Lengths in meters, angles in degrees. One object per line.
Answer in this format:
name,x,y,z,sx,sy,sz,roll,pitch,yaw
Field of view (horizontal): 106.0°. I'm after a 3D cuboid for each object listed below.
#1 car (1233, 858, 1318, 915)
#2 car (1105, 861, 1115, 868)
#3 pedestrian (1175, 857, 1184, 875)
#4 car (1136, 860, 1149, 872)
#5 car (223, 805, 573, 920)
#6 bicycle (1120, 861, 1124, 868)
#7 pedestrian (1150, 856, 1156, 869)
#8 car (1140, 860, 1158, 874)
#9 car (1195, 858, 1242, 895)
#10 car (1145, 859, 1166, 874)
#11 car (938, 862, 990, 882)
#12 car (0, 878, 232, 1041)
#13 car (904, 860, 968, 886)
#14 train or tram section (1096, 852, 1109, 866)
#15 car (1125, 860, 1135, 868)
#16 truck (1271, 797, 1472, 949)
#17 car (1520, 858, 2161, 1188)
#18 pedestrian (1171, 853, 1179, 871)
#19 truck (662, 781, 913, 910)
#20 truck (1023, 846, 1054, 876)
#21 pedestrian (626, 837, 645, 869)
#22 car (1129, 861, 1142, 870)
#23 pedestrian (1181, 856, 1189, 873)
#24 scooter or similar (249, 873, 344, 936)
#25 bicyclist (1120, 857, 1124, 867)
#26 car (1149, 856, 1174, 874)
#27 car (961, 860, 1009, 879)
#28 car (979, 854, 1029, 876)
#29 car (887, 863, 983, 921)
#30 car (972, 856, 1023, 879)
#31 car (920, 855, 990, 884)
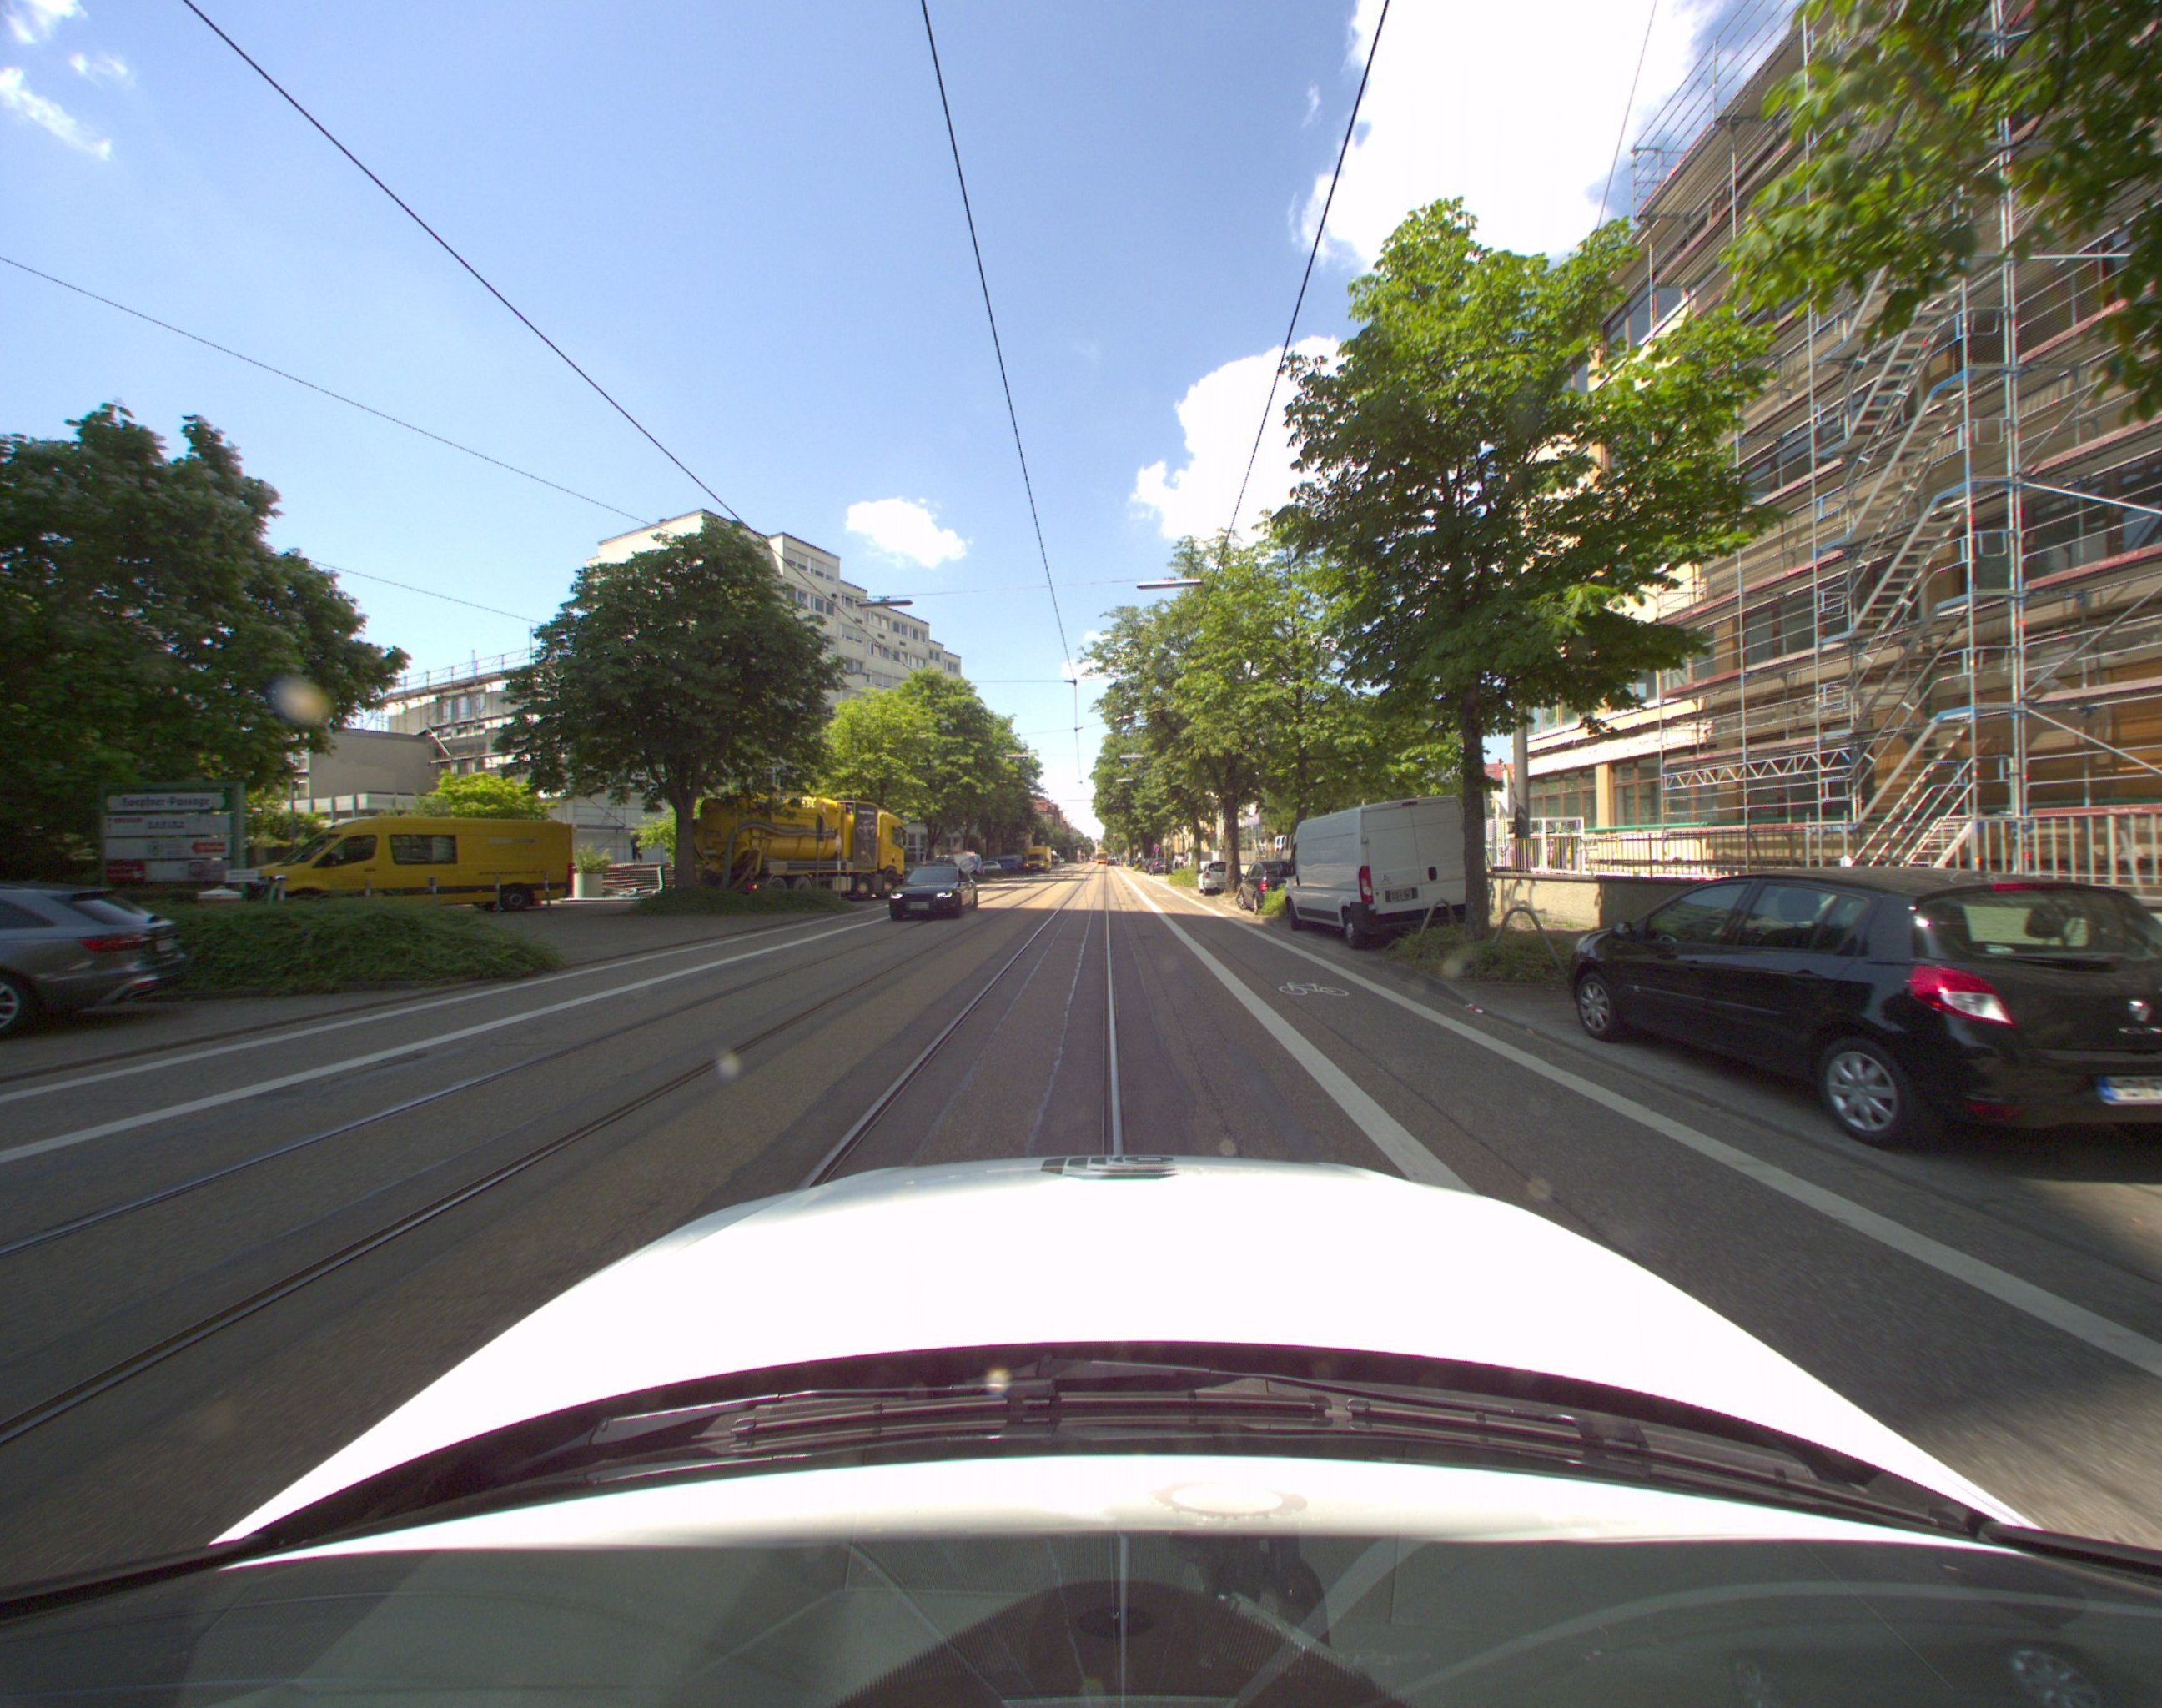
car,5.665,0.897,24.180,1.638,1.534,3.948,-1,0,1
car,5.585,2.061,156.268,1.774,1.346,3.417,-1,0,2
pedestrian,10.097,1.227,83.474,0.718,1.860,0.579,-2,-1,18
car,8.330,1.634,110.925,1.586,1.617,3.908,-2,-1,1
car,-17.707,0.276,21.719,2.157,2.566,6.765,-1,-2,31
bicycle,6.781,1.756,135.781,0.636,0.969,1.780,1,-2,1
pedestrian,11.013,1.286,124.648,0.806,1.860,0.623,-1,-2,-1
car,7.415,1.411,88.924,1.704,1.423,4.244,-2,-1,1
car,6.047,0.949,36.207,1.637,1.534,3.788,-1,0,3
car,7.515,1.288,82.305,1.869,1.455,4.529,-2,-1,2
car,-9.370,1.435,65.365,3.731,1.467,1.741,-2,-1,-44
car,-11.007,0.953,7.286,4.468,1.394,1.753,1,0,-37
car,-9.344,1.218,52.682,3.731,1.544,1.671,-2,-1,-44
train or tram section,5.550,1.225,205.252,3.023,3.438,11.976,-1,0,2
car,8.956,1.886,148.496,1.704,1.423,4.310,-2,-1,1
truck,5.512,0.318,16.473,2.007,2.489,5.957,-1,0,1
car,5.169,0.791,5.922,1.816,1.471,4.405,-1,0,4
pedestrian,9.820,0.789,84.979,0.803,1.860,0.578,-2,-1,9
truck,-10.020,-0.172,29.923,2.695,3.842,11.008,0,-1,16
truck,-4.304,0.697,84.303,2.350,2.852,7.384,-2,0,3
pedestrian,-22.120,-0.036,40.438,0.472,1.555,0.624,-3,-2,29
car,8.700,1.797,130.156,1.704,1.423,4.310,-2,-1,1
pedestrian,10.795,1.074,84.712,0.613,1.737,0.480,-3,-1,19
scooter or similar,-15.072,0.953,15.689,0.381,1.124,1.371,0,0,6
bicyclist,6.786,1.304,135.738,0.620,1.616,0.864,1,-2,0
car,6.906,0.924,69.788,1.634,1.485,3.870,-1,-1,-2
car,-8.574,1.358,72.795,1.740,1.433,4.024,-5,-1,43
car,-8.070,1.133,85.544,4.785,2.062,2.003,-2,-1,-38
car,-3.972,0.997,22.855,1.767,1.397,4.289,-1,0,2
car,-8.110,1.300,79.352,4.759,1.955,1.824,-2,-1,-44
car,-9.168,1.111,59.416,1.898,1.935,4.785,-3,-1,44
